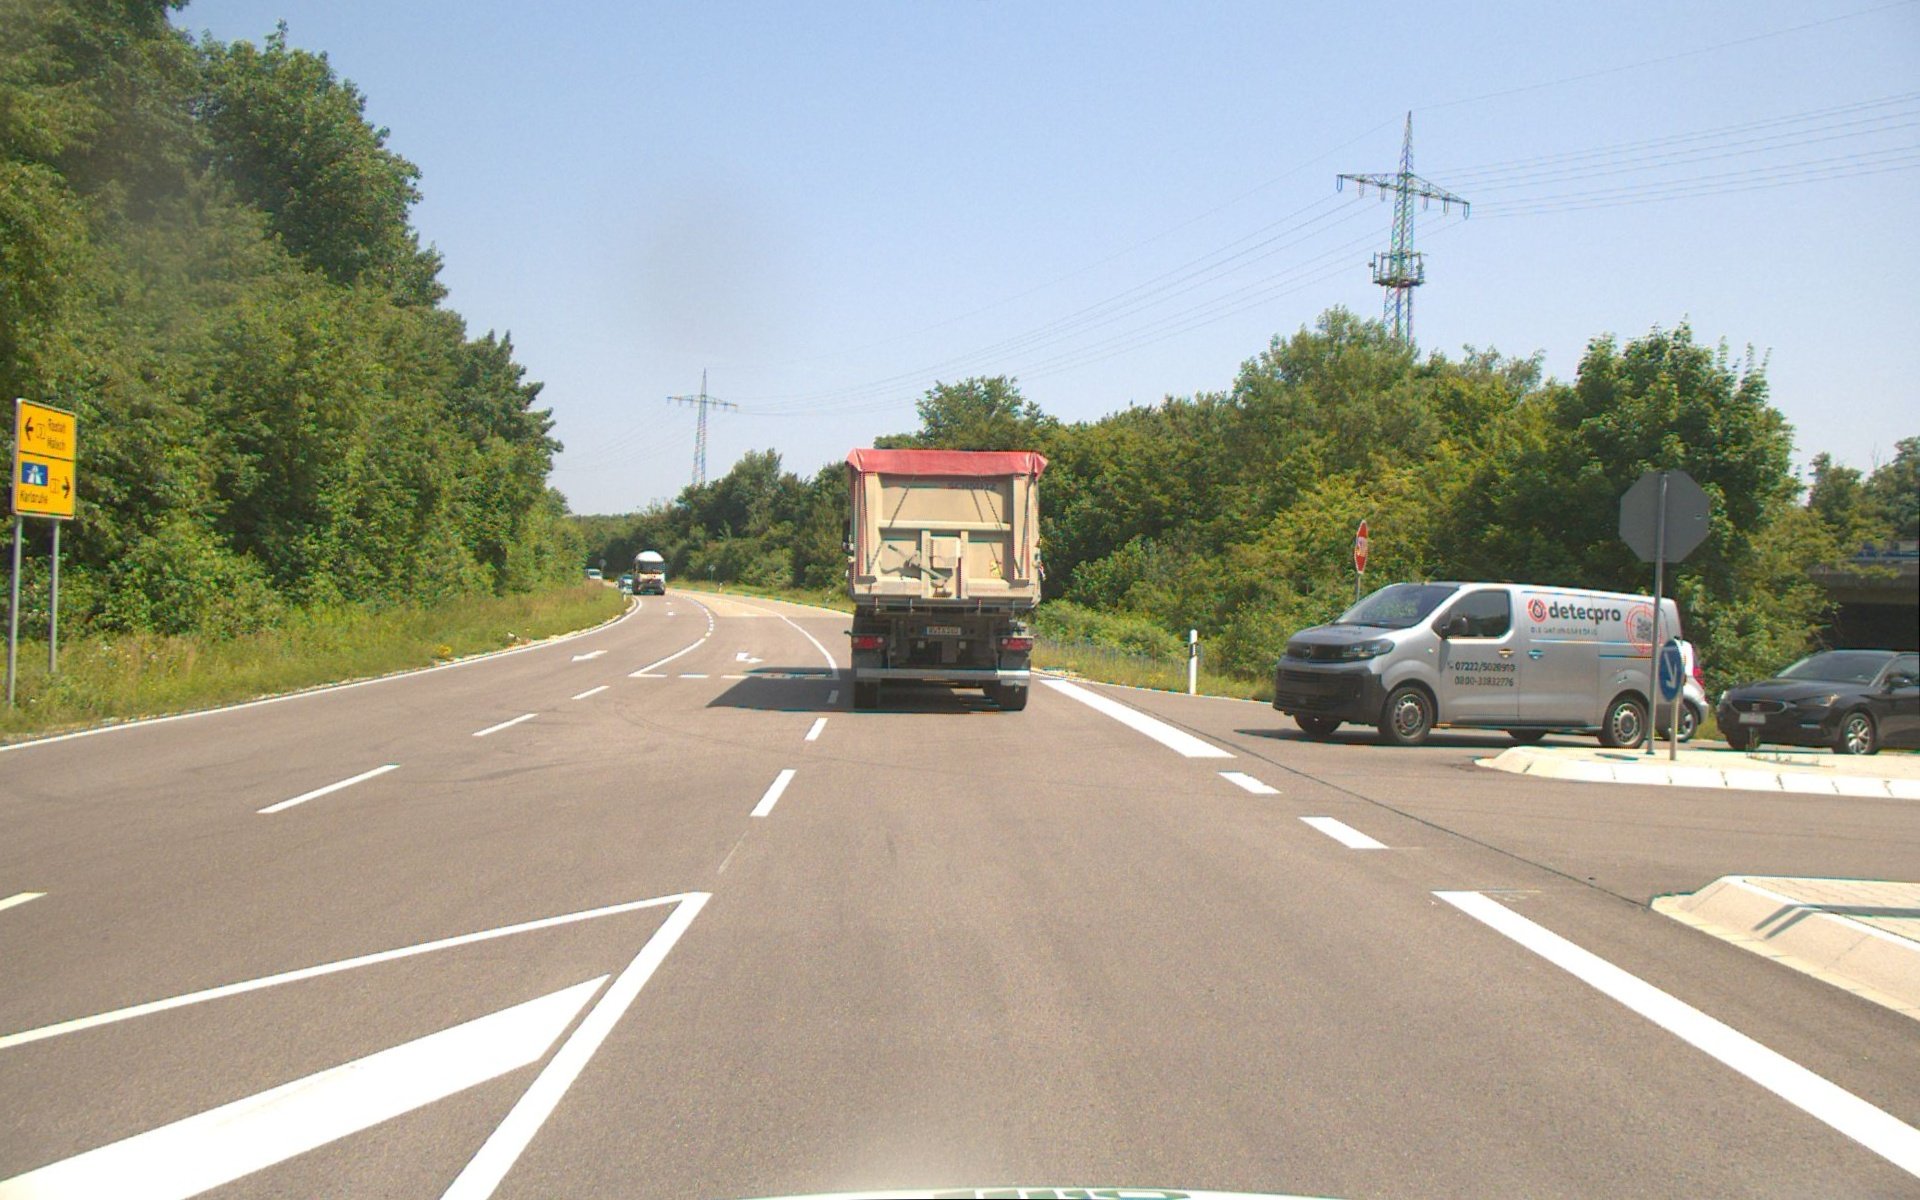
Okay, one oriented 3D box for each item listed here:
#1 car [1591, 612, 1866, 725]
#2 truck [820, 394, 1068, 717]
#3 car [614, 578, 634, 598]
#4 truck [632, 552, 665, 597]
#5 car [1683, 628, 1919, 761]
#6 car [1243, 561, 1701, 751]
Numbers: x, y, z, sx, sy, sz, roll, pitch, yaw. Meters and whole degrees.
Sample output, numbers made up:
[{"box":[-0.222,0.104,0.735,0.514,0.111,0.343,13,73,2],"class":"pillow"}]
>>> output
[{"box":[11.853,1.016,25.501,3.933,1.607,1.830,1,-1,-27],"class":"car"},{"box":[-0.696,-0.598,26.878,2.838,4.031,11.917,1,0,-6],"class":"truck"},{"box":[-31.404,-1.095,154.568,1.810,1.810,4.880,1,0,-11],"class":"car"},{"box":[-26.911,-2.166,143.353,2.579,3.735,8.776,1,0,-10],"class":"truck"},{"box":[11.964,1.309,22.122,4.499,1.499,1.850,5,-2,-29],"class":"car"},{"box":[6.128,0.698,19.725,5.144,1.940,1.999,4,-2,-24],"class":"car"}]
